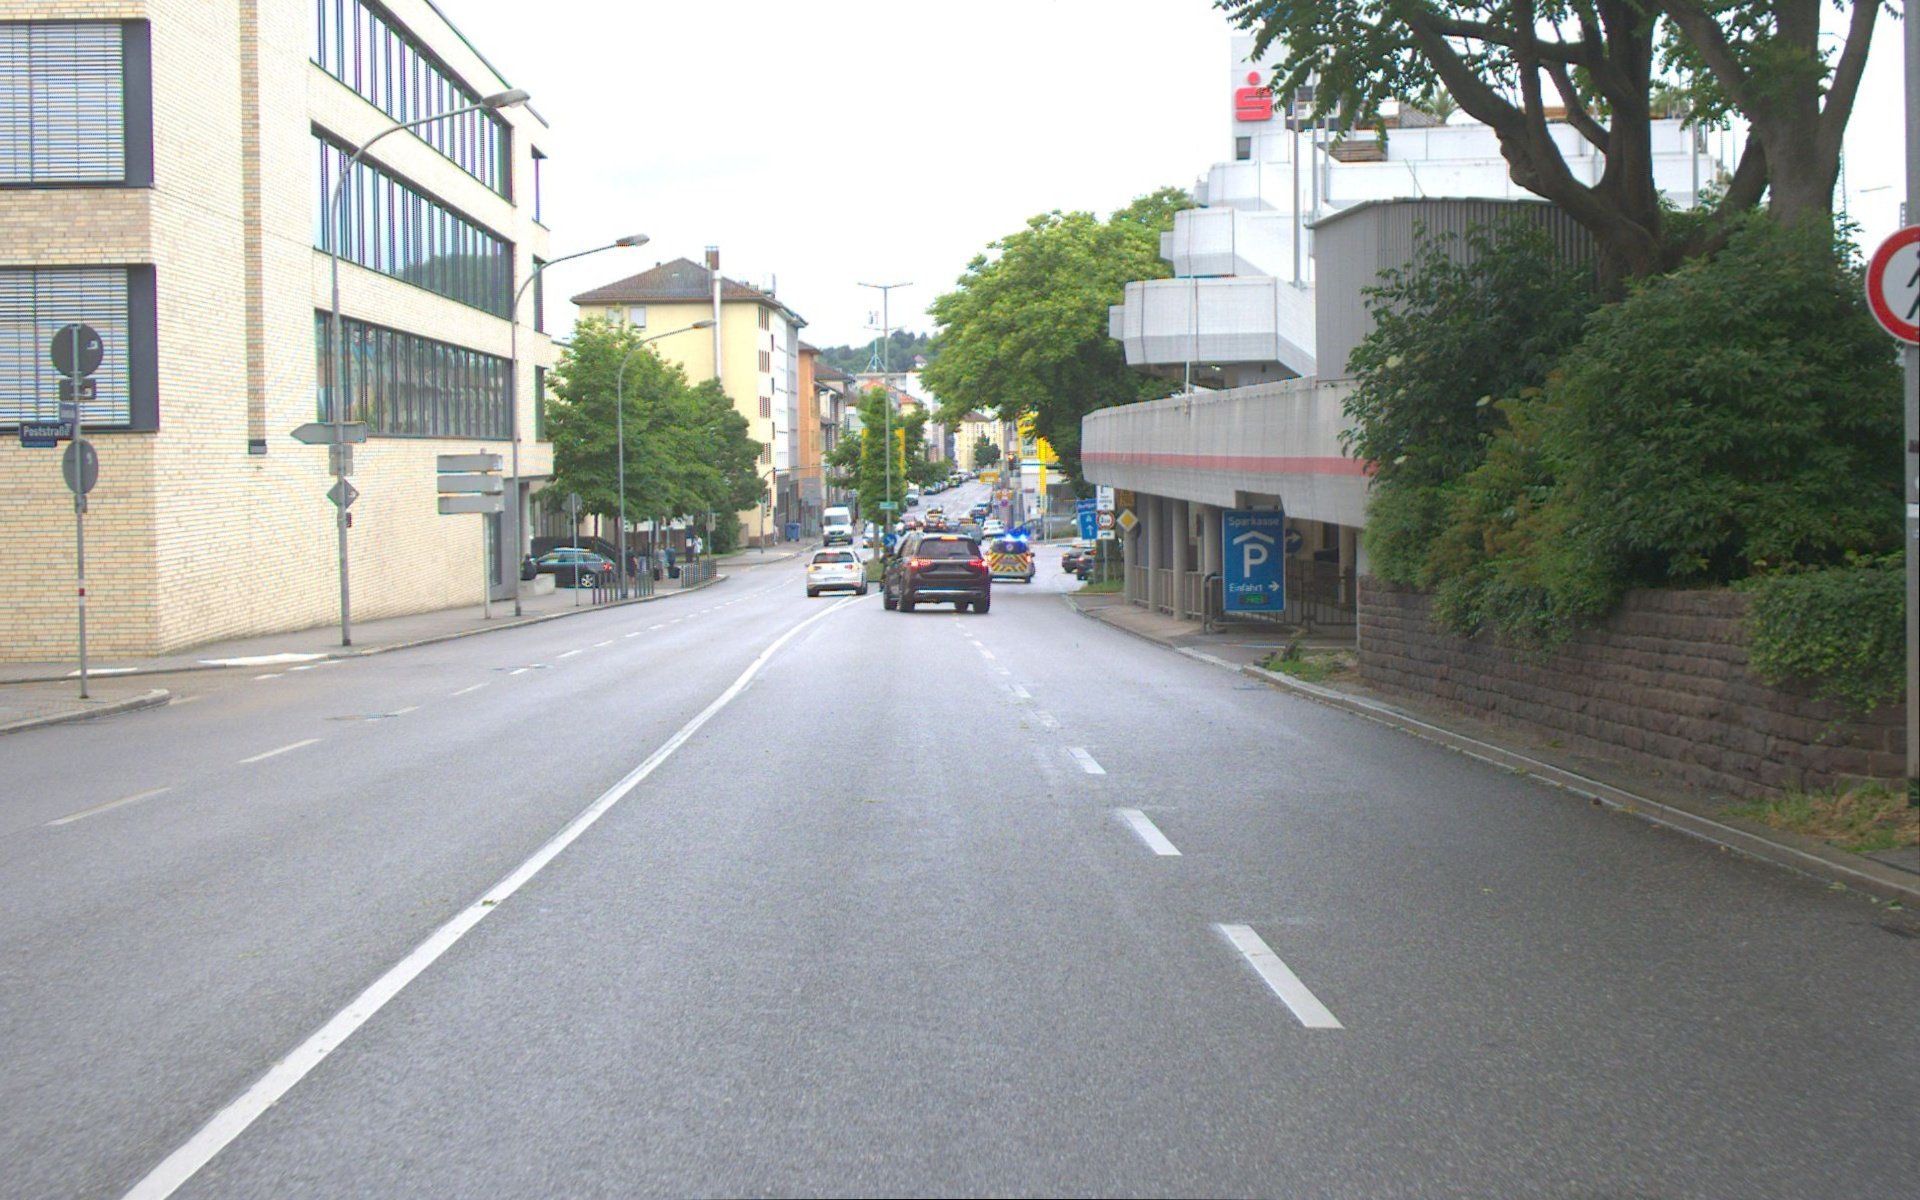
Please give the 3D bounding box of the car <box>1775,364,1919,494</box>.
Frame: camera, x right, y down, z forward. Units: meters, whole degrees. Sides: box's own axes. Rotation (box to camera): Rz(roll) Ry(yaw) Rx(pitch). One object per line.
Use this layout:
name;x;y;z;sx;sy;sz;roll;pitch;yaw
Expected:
car;12.903;-2.289;46.256;3.623;1.700;1.640;0;1;7

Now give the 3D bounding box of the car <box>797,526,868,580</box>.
car;-4.017;-1.484;107.832;1.993;1.674;4.001;0;1;-5

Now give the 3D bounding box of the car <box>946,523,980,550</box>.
car;0.177;-4.212;228.430;1.993;1.674;4.001;-1;2;-4

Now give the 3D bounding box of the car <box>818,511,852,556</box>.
car;-8.800;-4.649;241.375;2.183;3.087;4.932;0;1;-5

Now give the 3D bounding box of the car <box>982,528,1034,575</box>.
car;2.037;-2.083;147.151;2.173;1.997;4.000;0;1;0

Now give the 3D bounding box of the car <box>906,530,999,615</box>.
car;-0.168;-0.645;79.156;2.091;1.904;4.100;0;1;0

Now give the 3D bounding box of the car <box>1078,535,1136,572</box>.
car;6.767;-2.166;158.169;1.995;1.674;3.998;0;1;13

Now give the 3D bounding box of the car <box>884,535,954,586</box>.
car;-1.399;-1.343;115.735;1.993;1.674;4.001;0;1;-5

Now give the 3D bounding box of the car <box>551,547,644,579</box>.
car;-14.339;-1.461;135.957;3.654;1.230;1.441;0;1;-6

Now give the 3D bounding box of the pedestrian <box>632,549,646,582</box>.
pedestrian;-12.537;-1.336;134.209;0.454;1.274;0.454;0;1;10
